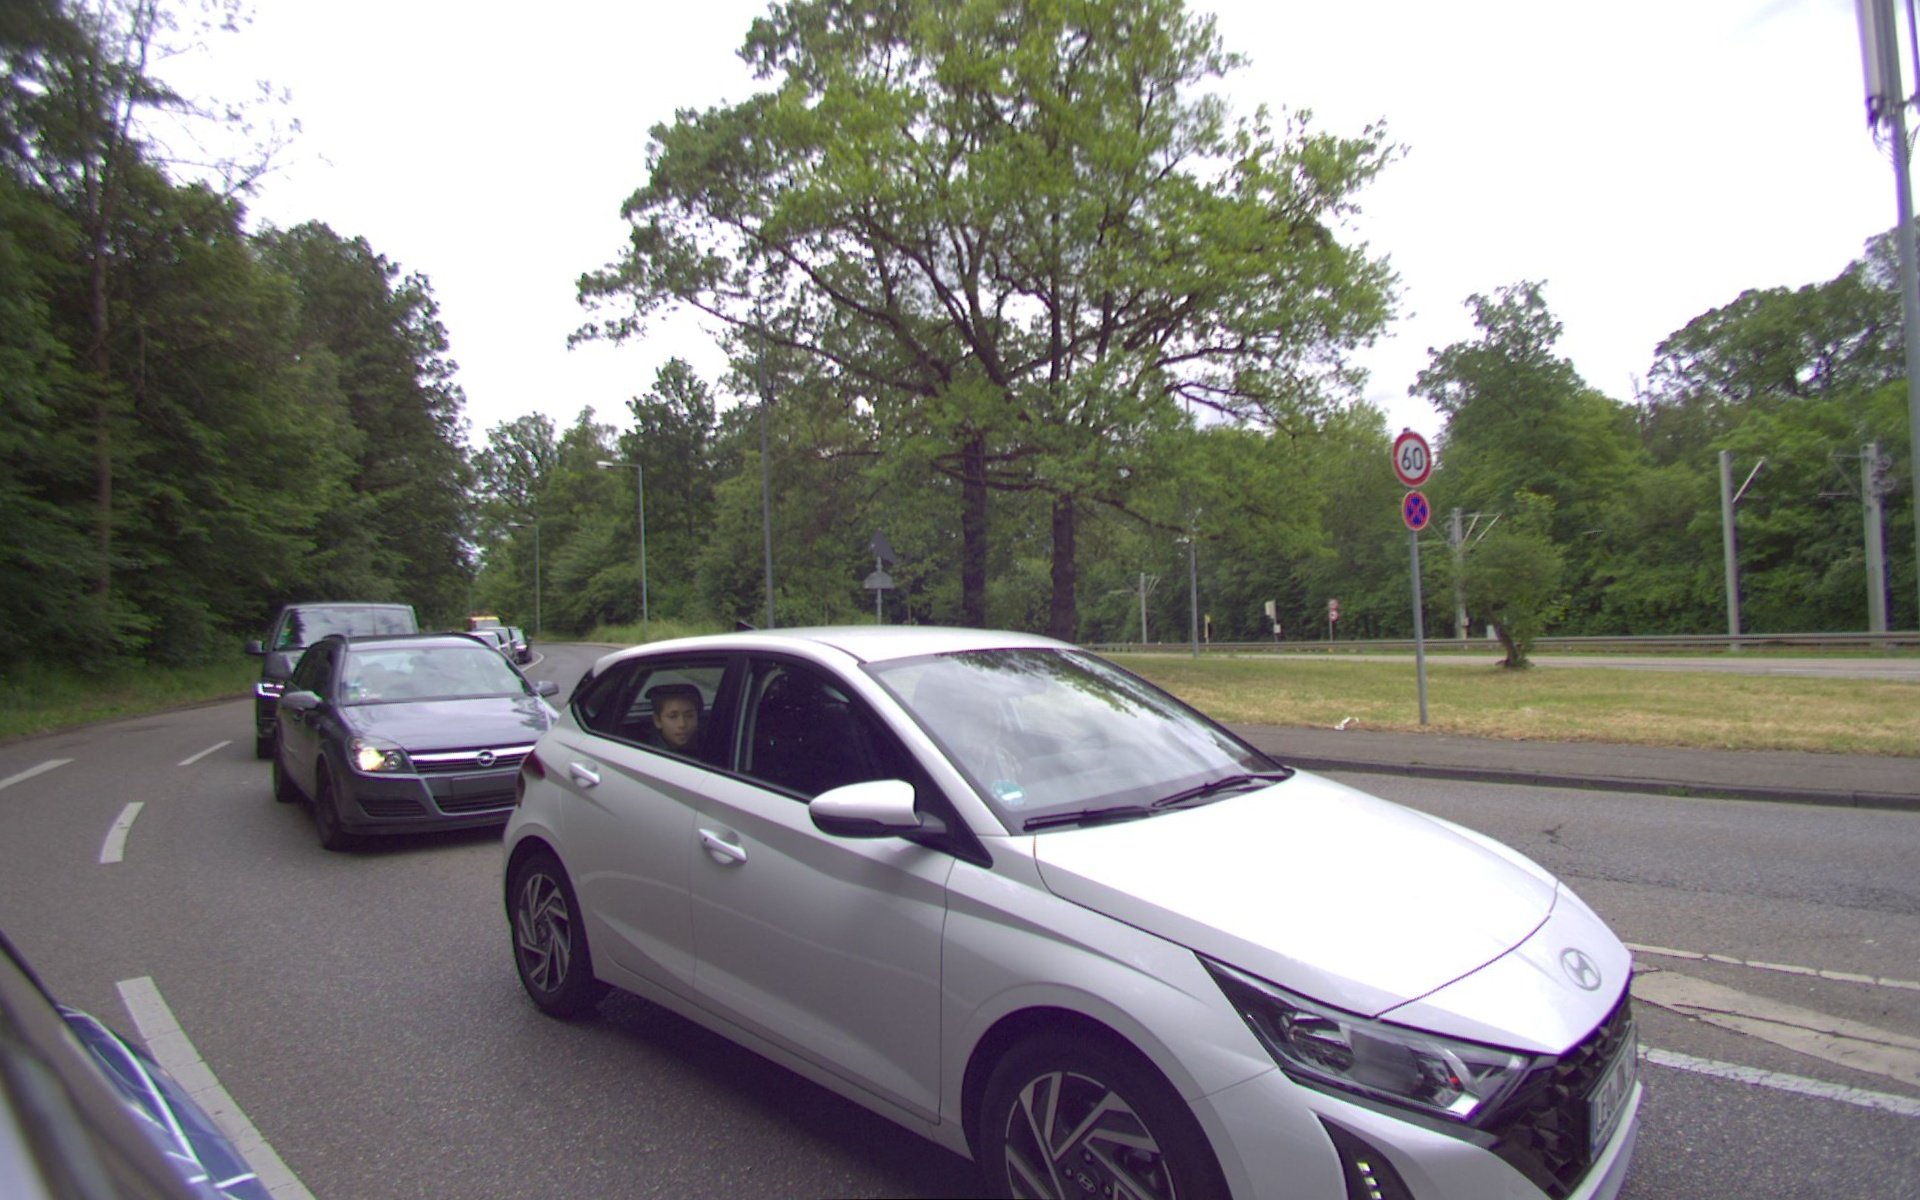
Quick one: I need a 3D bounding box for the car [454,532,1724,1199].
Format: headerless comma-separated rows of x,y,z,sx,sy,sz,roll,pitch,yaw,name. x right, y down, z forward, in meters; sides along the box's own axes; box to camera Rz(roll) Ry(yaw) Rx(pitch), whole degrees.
-0.077,0.725,3.431,4.073,1.490,1.631,-3,-2,43,car

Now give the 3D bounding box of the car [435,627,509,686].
-13.659,1.547,28.440,1.748,1.511,3.885,0,-2,-25,car

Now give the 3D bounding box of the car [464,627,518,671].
-17.617,1.804,38.007,1.748,1.511,3.885,0,-2,-25,car

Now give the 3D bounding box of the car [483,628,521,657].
-25.376,2.363,56.214,1.749,1.511,3.885,-1,-2,-22,car

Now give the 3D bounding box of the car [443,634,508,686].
-15.394,1.856,32.238,1.748,1.511,3.885,0,-2,-25,car

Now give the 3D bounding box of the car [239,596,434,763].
-8.429,0.983,13.955,1.957,1.887,4.545,0,-2,-29,car

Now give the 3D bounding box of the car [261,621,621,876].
-4.497,0.977,8.355,1.775,1.490,4.478,0,-2,-39,car

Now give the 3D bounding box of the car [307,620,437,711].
-12.326,1.319,21.468,1.763,1.686,4.003,-1,-1,-21,car

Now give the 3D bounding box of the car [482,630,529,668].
-19.387,2.065,43.145,1.748,1.511,3.885,0,-2,-25,car

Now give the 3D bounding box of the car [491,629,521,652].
-31.824,2.856,70.994,1.749,1.511,3.885,-1,-2,-22,car
